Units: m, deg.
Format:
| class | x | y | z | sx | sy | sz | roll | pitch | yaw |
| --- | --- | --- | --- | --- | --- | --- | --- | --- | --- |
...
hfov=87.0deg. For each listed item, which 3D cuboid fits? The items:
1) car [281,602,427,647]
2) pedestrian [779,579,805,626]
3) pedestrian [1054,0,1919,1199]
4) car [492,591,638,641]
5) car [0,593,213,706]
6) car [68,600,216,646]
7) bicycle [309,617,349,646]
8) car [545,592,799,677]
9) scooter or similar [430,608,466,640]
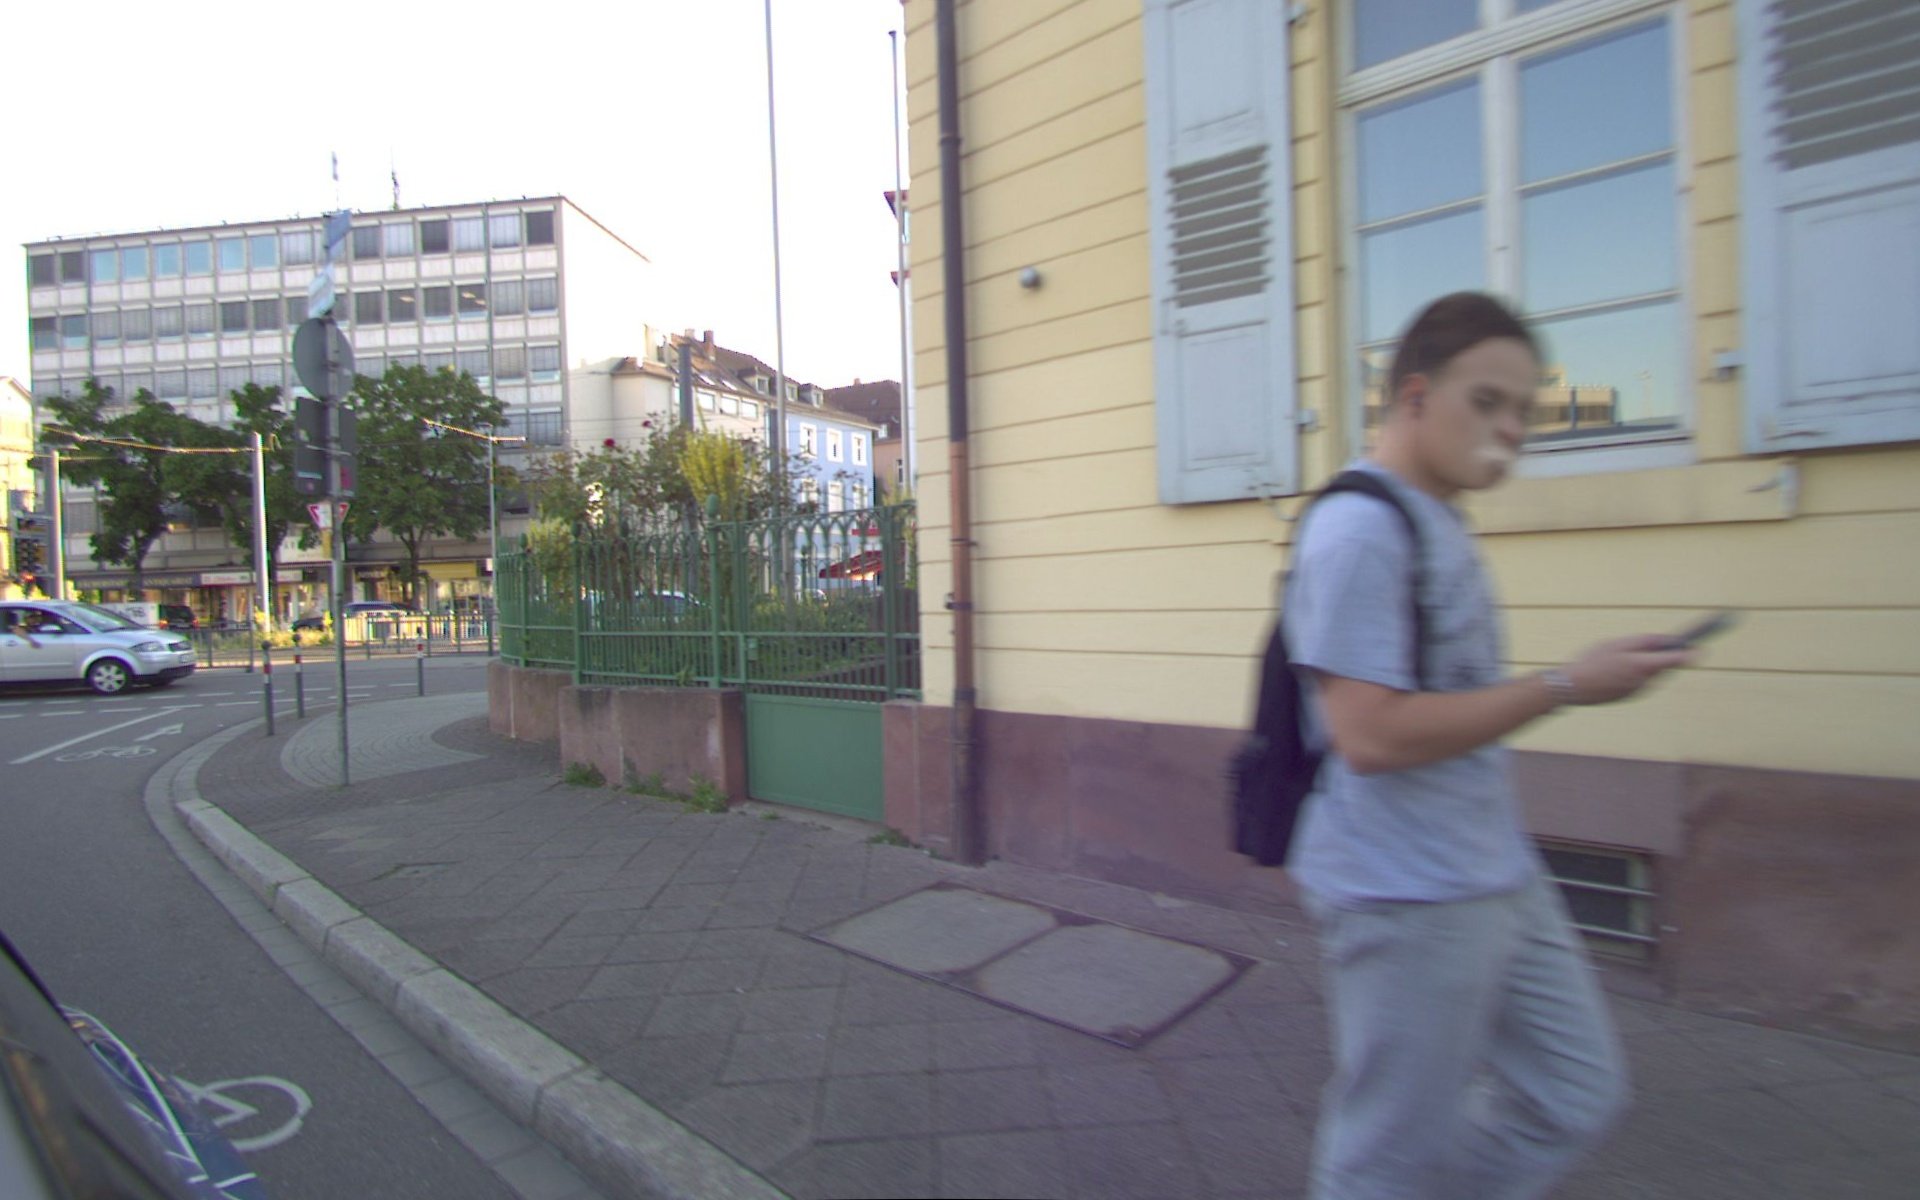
| class | x | y | z | sx | sy | sz | roll | pitch | yaw |
| --- | --- | --- | --- | --- | --- | --- | --- | --- | --- |
| car | -22.396 | 0.892 | 37.530 | 4.306 | 1.446 | 1.739 | -2 | 1 | -4 |
| pedestrian | -6.701 | 0.099 | 40.343 | 0.801 | 1.802 | 0.853 | -2 | 1 | 3 |
| pedestrian | 0.747 | 0.377 | 1.338 | 0.830 | 1.737 | 0.866 | -1 | 1 | 45 |
| car | -13.773 | 0.540 | 35.391 | 4.234 | 1.571 | 2.198 | -2 | 1 | 11 |
| car | -14.454 | 0.777 | 16.156 | 3.663 | 1.572 | 1.686 | -3 | 3 | -18 |
| car | -31.428 | 0.871 | 38.957 | 4.249 | 1.586 | 1.997 | -2 | 1 | 6 |
| bicycle | -27.339 | 1.352 | 43.875 | 0.657 | 1.148 | 1.746 | -2 | 1 | -1 |
| car | -5.137 | 0.584 | 18.482 | 4.233 | 1.416 | 1.921 | 0 | 1 | -12 |
| scooter or similar | -21.992 | 1.033 | 43.466 | 0.514 | 1.332 | 1.265 | -1 | 0 | 37 |
